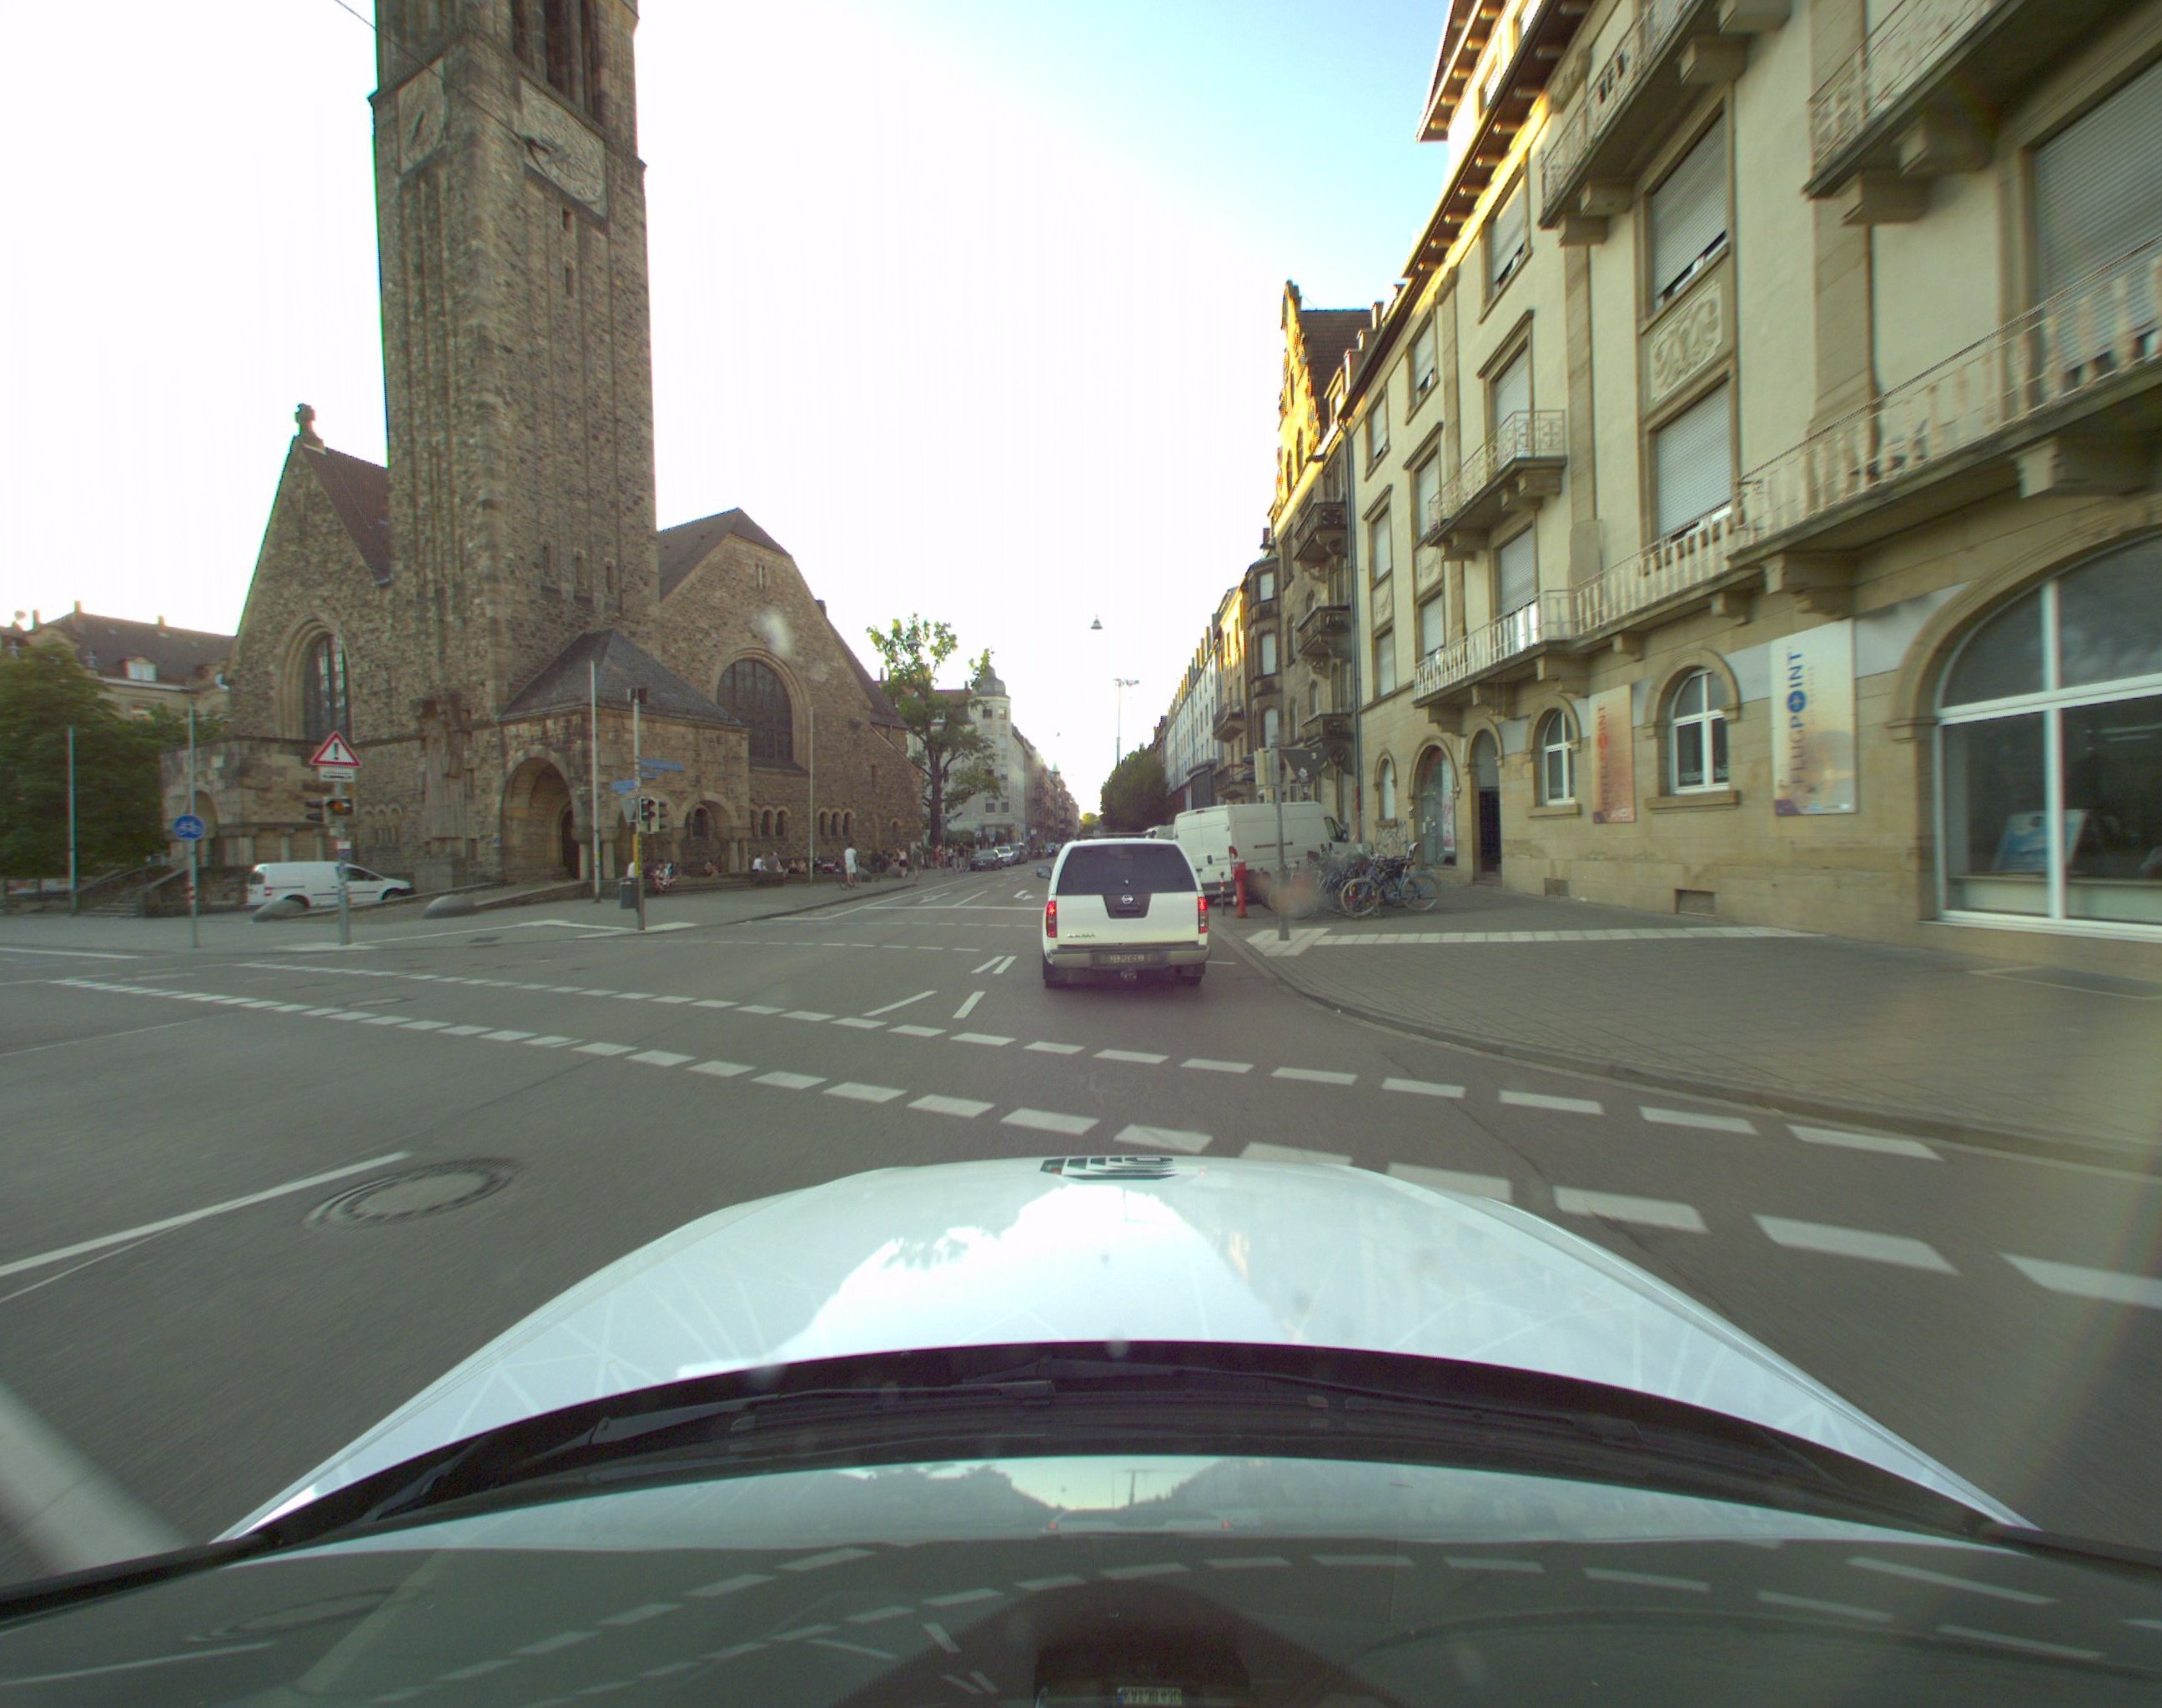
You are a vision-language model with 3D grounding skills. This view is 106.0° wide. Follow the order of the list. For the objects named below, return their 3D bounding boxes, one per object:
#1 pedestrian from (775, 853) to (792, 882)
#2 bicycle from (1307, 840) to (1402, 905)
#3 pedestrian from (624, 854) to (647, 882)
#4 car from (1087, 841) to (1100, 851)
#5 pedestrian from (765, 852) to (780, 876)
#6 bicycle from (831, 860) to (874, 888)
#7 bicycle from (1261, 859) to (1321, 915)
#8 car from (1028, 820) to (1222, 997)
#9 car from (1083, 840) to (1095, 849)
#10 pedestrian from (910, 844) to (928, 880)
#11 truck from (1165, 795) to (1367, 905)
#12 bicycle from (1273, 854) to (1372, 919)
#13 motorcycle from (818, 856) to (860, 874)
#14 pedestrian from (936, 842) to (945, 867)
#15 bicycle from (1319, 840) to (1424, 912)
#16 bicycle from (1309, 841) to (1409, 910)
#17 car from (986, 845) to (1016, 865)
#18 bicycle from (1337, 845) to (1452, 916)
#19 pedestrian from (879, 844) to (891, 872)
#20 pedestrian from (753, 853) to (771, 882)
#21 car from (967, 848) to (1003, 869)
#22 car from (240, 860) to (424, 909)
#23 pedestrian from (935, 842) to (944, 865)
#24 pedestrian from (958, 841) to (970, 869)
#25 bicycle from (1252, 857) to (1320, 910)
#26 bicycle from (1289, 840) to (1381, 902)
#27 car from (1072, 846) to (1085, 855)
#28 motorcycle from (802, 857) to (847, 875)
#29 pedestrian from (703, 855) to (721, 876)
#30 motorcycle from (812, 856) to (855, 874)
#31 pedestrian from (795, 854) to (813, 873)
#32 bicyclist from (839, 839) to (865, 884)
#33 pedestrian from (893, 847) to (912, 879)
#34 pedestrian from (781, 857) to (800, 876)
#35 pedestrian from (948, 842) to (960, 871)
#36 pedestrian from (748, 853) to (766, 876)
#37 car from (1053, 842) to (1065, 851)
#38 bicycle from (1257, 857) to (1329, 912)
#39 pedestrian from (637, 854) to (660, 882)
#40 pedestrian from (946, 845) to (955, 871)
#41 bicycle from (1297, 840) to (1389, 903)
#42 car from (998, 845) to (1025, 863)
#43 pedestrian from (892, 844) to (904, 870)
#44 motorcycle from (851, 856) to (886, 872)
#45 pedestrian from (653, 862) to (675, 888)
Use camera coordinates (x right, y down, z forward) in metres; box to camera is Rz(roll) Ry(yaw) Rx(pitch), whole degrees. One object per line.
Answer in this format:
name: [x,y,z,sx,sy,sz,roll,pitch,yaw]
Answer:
pedestrian: [-13.152,0.593,36.027,0.474,1.245,0.526,-1,0,20]
bicycle: [5.849,0.389,17.482,1.811,1.238,0.412,-5,0,0]
pedestrian: [-15.782,0.502,28.871,0.517,0.960,0.482,-1,0,22]
car: [2.009,-1.204,129.816,1.851,1.529,4.002,-1,0,2]
pedestrian: [-12.921,0.421,34.113,0.522,0.960,0.477,-1,0,-13]
bicycle: [-9.348,0.816,33.406,0.652,1.078,2.253,-1,0,14]
bicycle: [4.253,0.665,16.526,1.073,1.024,0.317,-5,0,0]
car: [0.564,0.553,10.422,1.985,1.809,4.003,-1,0,3]
car: [1.350,-1.647,140.171,1.914,1.529,4.000,-1,0,0]
pedestrian: [-8.578,0.420,43.152,0.809,1.900,0.666,-1,0,1]
truck: [5.043,-0.156,21.705,5.703,2.564,2.261,-2,1,-40]
bicycle: [4.626,0.621,15.623,1.721,1.083,0.317,-5,0,0]
motorcycle: [-14.139,0.646,47.585,2.238,0.987,0.707,-1,0,-3]
pedestrian: [-10.258,0.036,59.532,0.643,1.855,0.560,-1,0,-12]
bicycle: [5.711,0.431,16.049,1.811,1.238,0.488,-5,0,0]
bicycle: [5.711,0.431,16.761,1.811,1.238,0.478,-5,0,0]
car: [-6.382,0.083,65.314,1.851,1.529,4.002,-1,0,2]
bicycle: [5.785,0.481,15.103,1.811,1.149,0.636,-5,0,0]
pedestrian: [-12.366,0.247,51.309,0.642,1.695,0.561,-1,0,-6]
pedestrian: [-13.834,0.569,35.320,0.474,1.245,0.526,-1,0,20]
car: [-6.696,0.296,57.119,1.851,1.398,4.002,-1,0,2]
car: [-26.456,1.019,28.956,1.698,1.516,4.482,-1,0,27]
pedestrian: [-10.464,-0.051,60.381,0.559,1.695,0.644,-1,0,-5]
pedestrian: [-7.775,0.038,54.092,0.646,1.855,0.557,-1,0,-26]
bicycle: [4.463,0.639,17.777,1.328,1.024,0.317,-5,0,0]
bicycle: [5.796,0.384,18.623,1.849,1.238,0.531,-5,0,0]
car: [-0.438,-0.572,132.479,1.851,1.529,4.002,-1,0,2]
motorcycle: [-14.344,0.663,45.564,2.238,0.987,0.707,-1,0,-3]
pedestrian: [-17.622,0.557,38.924,0.550,0.960,0.709,-1,0,-4]
motorcycle: [-14.195,0.652,46.788,2.238,0.987,0.707,-1,0,-3]
pedestrian: [-14.525,0.483,42.650,0.547,0.960,0.713,-1,0,24]
bicyclist: [-9.373,0.304,33.346,0.652,1.827,0.862,-1,0,11]
pedestrian: [-9.430,0.459,43.080,0.809,1.669,0.860,-1,0,1]
pedestrian: [-14.980,0.644,41.979,0.547,0.960,0.713,-1,0,24]
pedestrian: [-8.390,0.167,53.849,0.646,1.855,0.557,-1,0,-26]
pedestrian: [-13.606,0.431,34.215,0.517,0.960,0.482,-1,0,20]
car: [-3.721,-1.281,138.028,1.851,1.529,4.002,-1,0,2]
bicycle: [4.483,0.641,17.228,1.367,1.024,0.317,-5,0,0]
pedestrian: [-15.177,0.495,28.567,0.517,0.960,0.482,-1,0,22]
pedestrian: [-9.600,0.301,60.054,0.559,1.855,0.644,-1,0,-5]
bicycle: [5.810,0.385,18.090,1.811,1.238,0.410,-5,0,0]
car: [-6.106,-0.039,71.894,1.851,1.529,4.002,-1,0,2]
pedestrian: [-12.025,0.185,53.599,0.640,1.695,0.562,-1,0,2]
motorcycle: [-12.996,0.612,49.826,2.146,0.987,0.597,-1,0,22]
pedestrian: [-15.234,0.763,29.745,0.473,0.960,0.526,-1,0,33]
